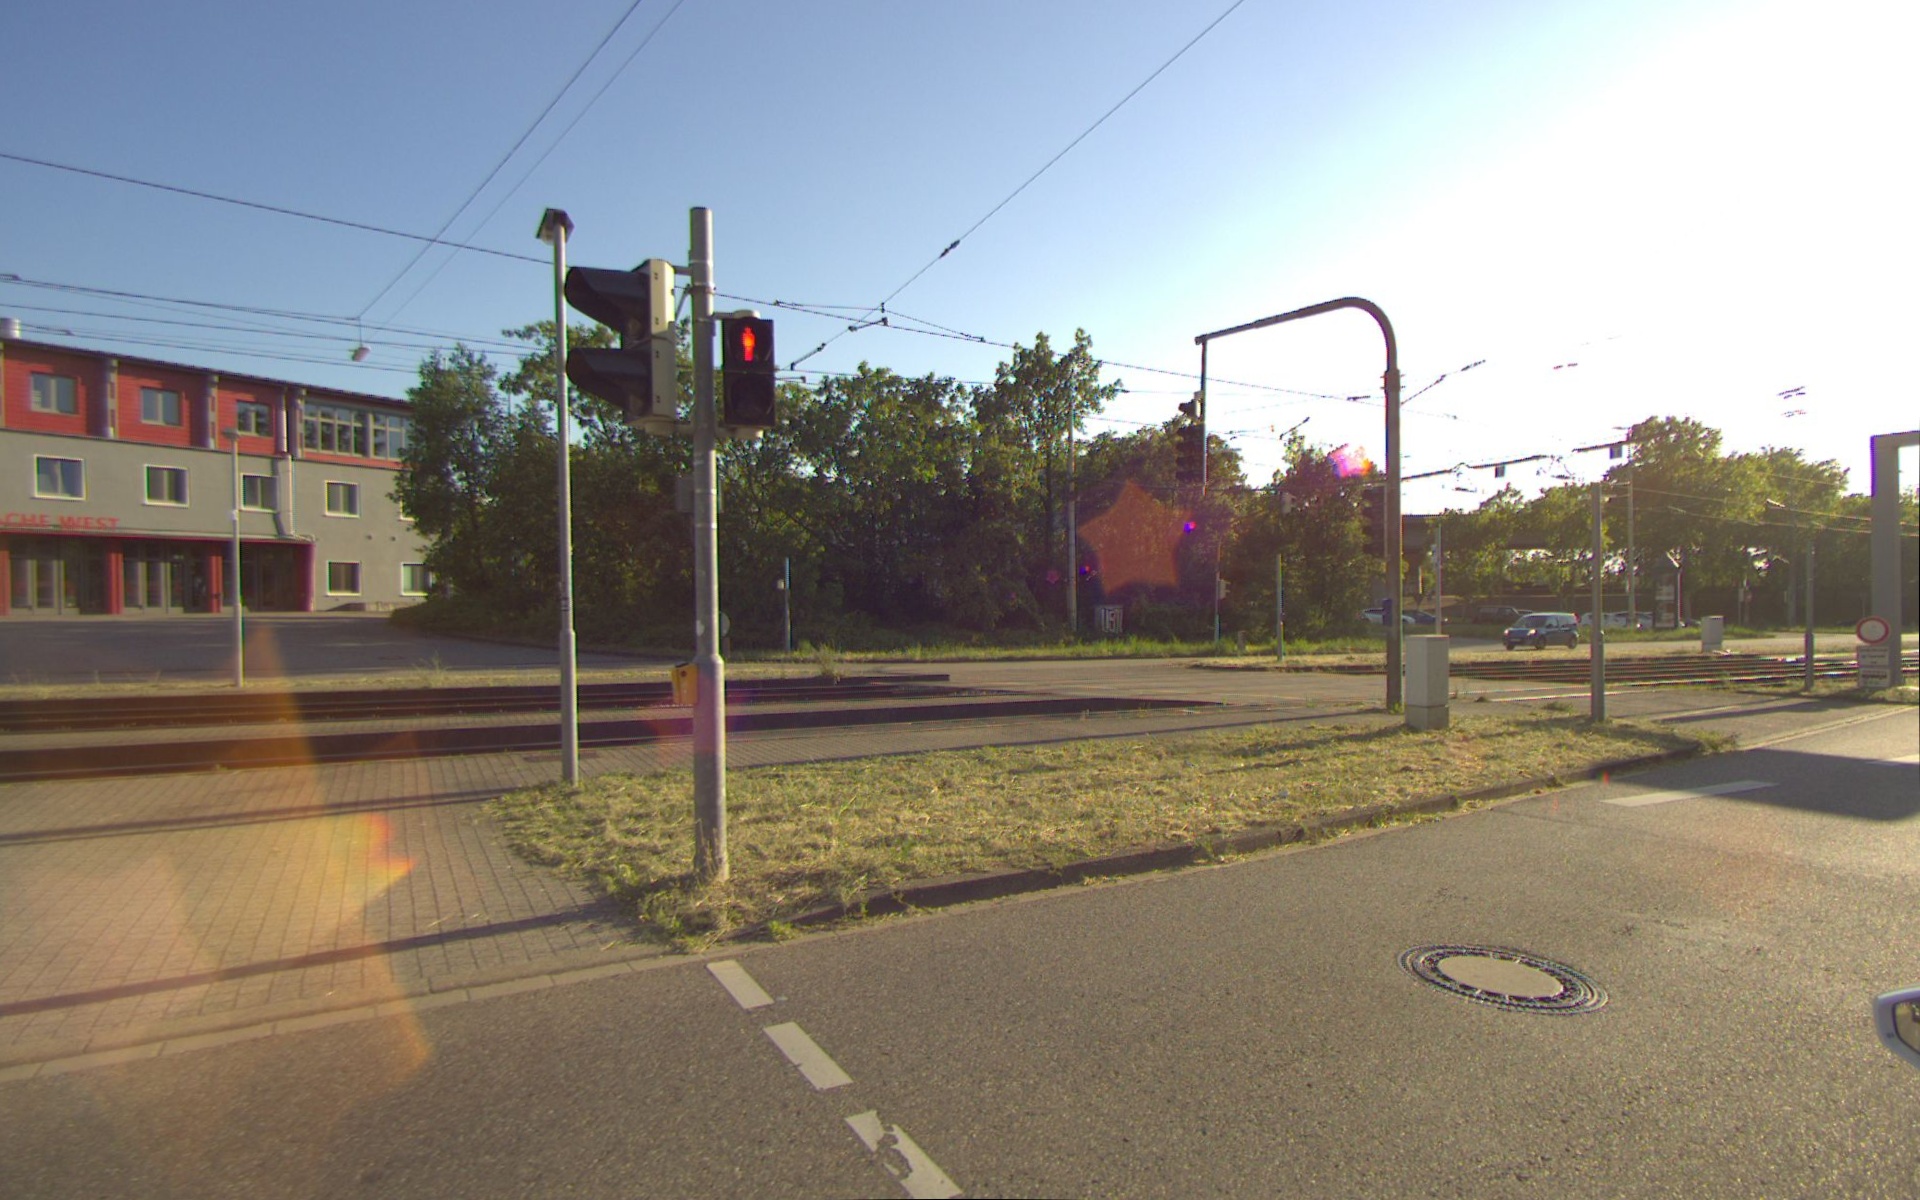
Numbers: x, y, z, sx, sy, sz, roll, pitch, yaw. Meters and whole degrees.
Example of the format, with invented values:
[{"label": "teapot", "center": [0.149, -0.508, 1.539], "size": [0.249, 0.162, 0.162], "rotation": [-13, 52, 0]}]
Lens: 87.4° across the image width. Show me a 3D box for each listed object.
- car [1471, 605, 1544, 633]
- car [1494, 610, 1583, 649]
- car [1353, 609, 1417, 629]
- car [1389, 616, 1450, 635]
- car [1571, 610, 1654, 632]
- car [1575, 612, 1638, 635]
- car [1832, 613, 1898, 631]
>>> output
[{"label": "car", "center": [42.492, 1.443, 78.020], "size": [4.855, 2.018, 2.033], "rotation": [0, 0, 30]}, {"label": "car", "center": [28.585, 1.409, 49.651], "size": [4.206, 1.811, 1.925], "rotation": [0, 0, -29]}, {"label": "car", "center": [34.919, 1.560, 82.638], "size": [4.682, 1.595, 1.691], "rotation": [-1, -1, 29]}, {"label": "car", "center": [38.836, 2.168, 84.993], "size": [4.543, 1.478, 1.690], "rotation": [1, 1, 30]}, {"label": "car", "center": [50.271, 1.570, 77.419], "size": [5.280, 1.596, 1.734], "rotation": [0, 0, 37]}, {"label": "car", "center": [48.064, 1.744, 74.728], "size": [3.932, 1.596, 1.689], "rotation": [0, 0, 34]}, {"label": "car", "center": [78.900, 1.911, 87.630], "size": [1.720, 1.525, 3.970], "rotation": [0, 0, -28]}]
